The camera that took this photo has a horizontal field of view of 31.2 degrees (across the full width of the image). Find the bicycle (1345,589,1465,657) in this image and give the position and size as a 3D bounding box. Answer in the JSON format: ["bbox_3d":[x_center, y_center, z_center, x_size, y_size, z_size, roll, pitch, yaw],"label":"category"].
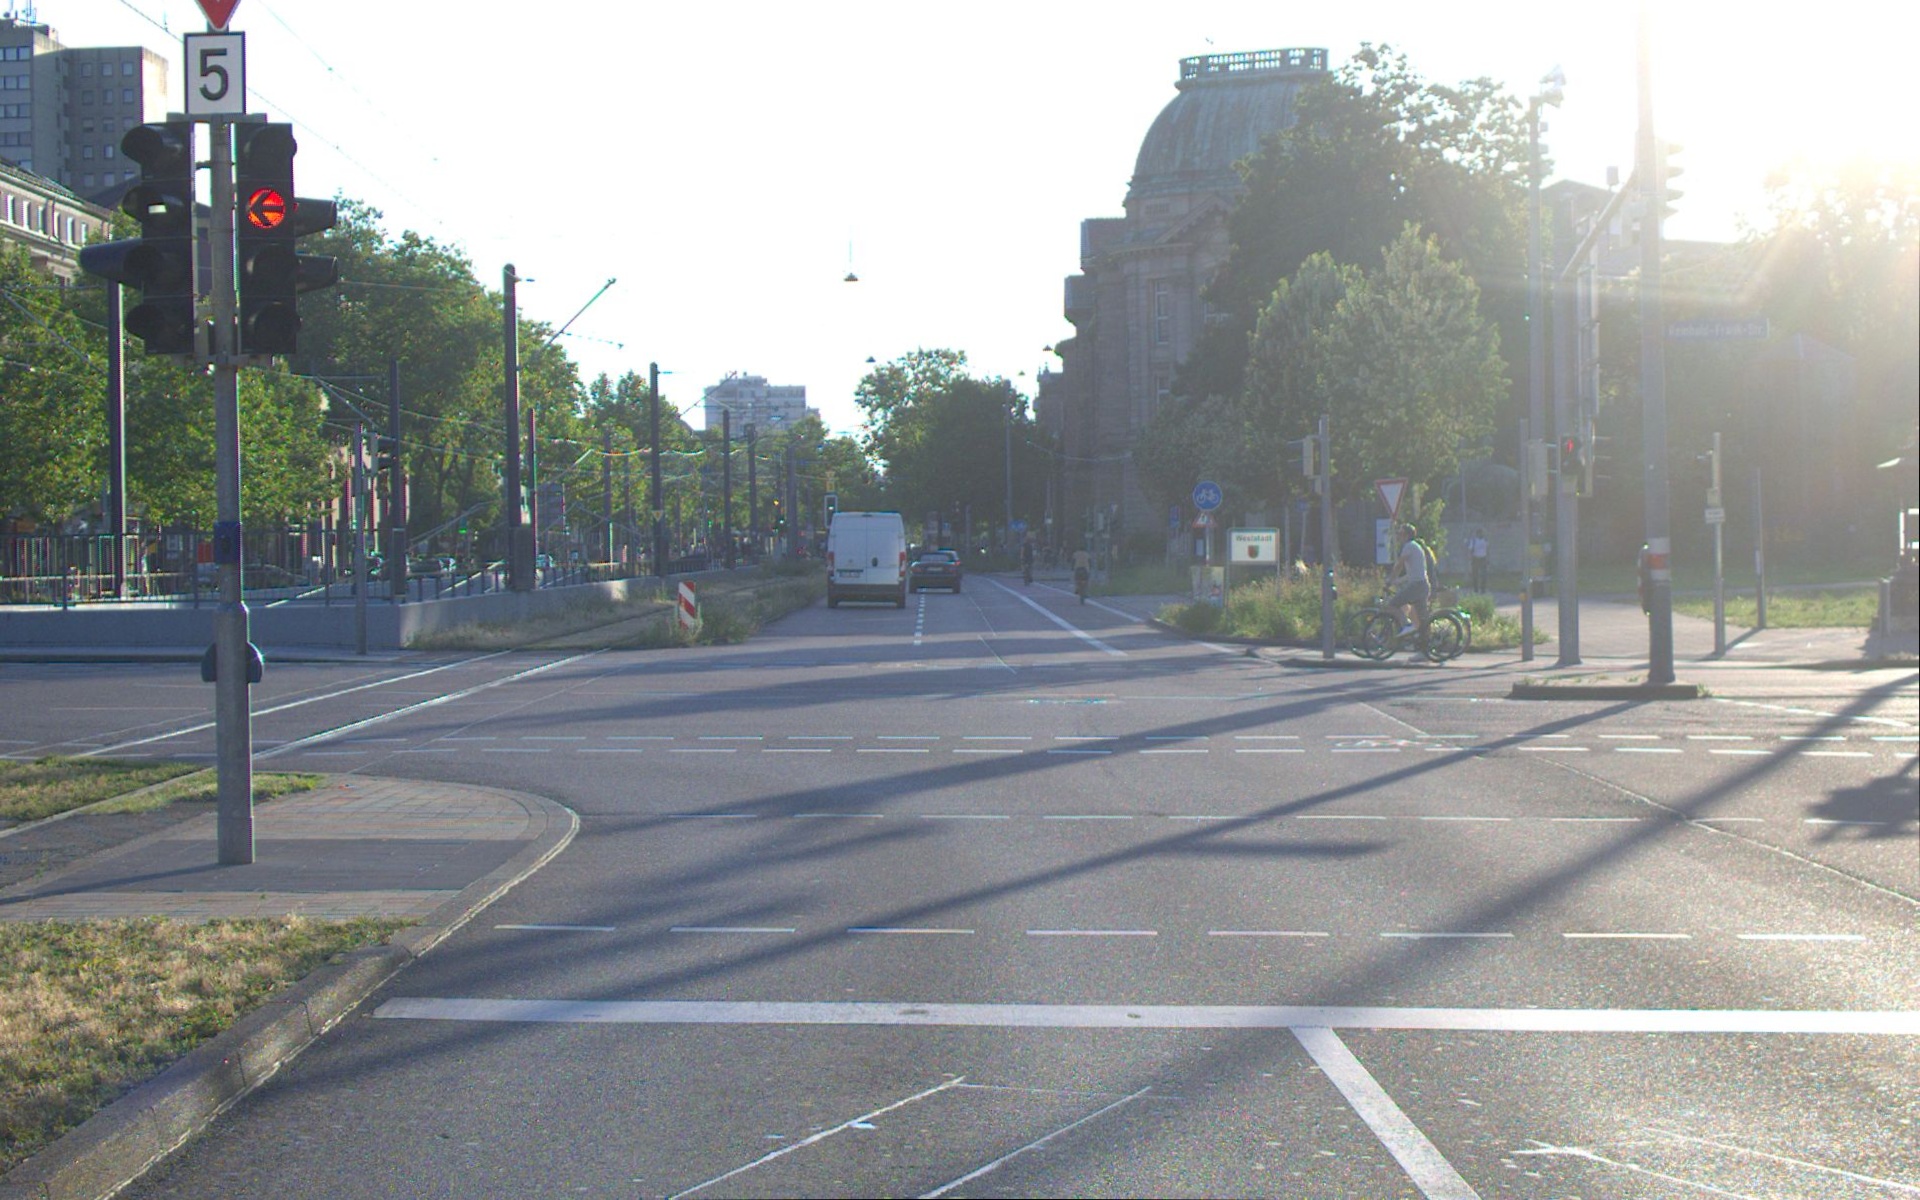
[{"bbox_3d":[6.494,0.333,50.239,1.718,0.966,0.609,0,2,6],"label":"bicycle"}]

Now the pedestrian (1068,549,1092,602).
[{"bbox_3d":[3.375,-0.691,96.807,0.616,1.470,0.800,-1,2,4],"label":"pedestrian"}]

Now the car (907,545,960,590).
[{"bbox_3d":[-0.883,-1.129,116.502,1.737,1.381,4.001,-1,2,0],"label":"car"}]

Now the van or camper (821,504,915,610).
[{"bbox_3d":[-2.394,-1.164,90.180,2.263,2.616,4.503,-1,2,0],"label":"van or camper"}]

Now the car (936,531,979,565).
[{"bbox_3d":[-0.126,-2.584,168.990,1.794,1.560,4.001,-1,2,-4],"label":"car"}]

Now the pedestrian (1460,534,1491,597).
[{"bbox_3d":[13.229,-0.888,88.253,0.682,1.605,0.613,-1,2,0],"label":"pedestrian"}]

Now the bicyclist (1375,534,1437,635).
[{"bbox_3d":[6.510,-0.234,50.215,0.853,1.437,0.663,-1,2,6],"label":"bicyclist"}]

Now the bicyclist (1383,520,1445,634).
[{"bbox_3d":[6.378,-0.330,48.307,0.797,1.566,0.663,-1,2,4],"label":"bicyclist"}]

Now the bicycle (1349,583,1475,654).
[{"bbox_3d":[6.341,0.256,48.329,1.728,0.966,0.609,0,2,5],"label":"bicycle"}]
